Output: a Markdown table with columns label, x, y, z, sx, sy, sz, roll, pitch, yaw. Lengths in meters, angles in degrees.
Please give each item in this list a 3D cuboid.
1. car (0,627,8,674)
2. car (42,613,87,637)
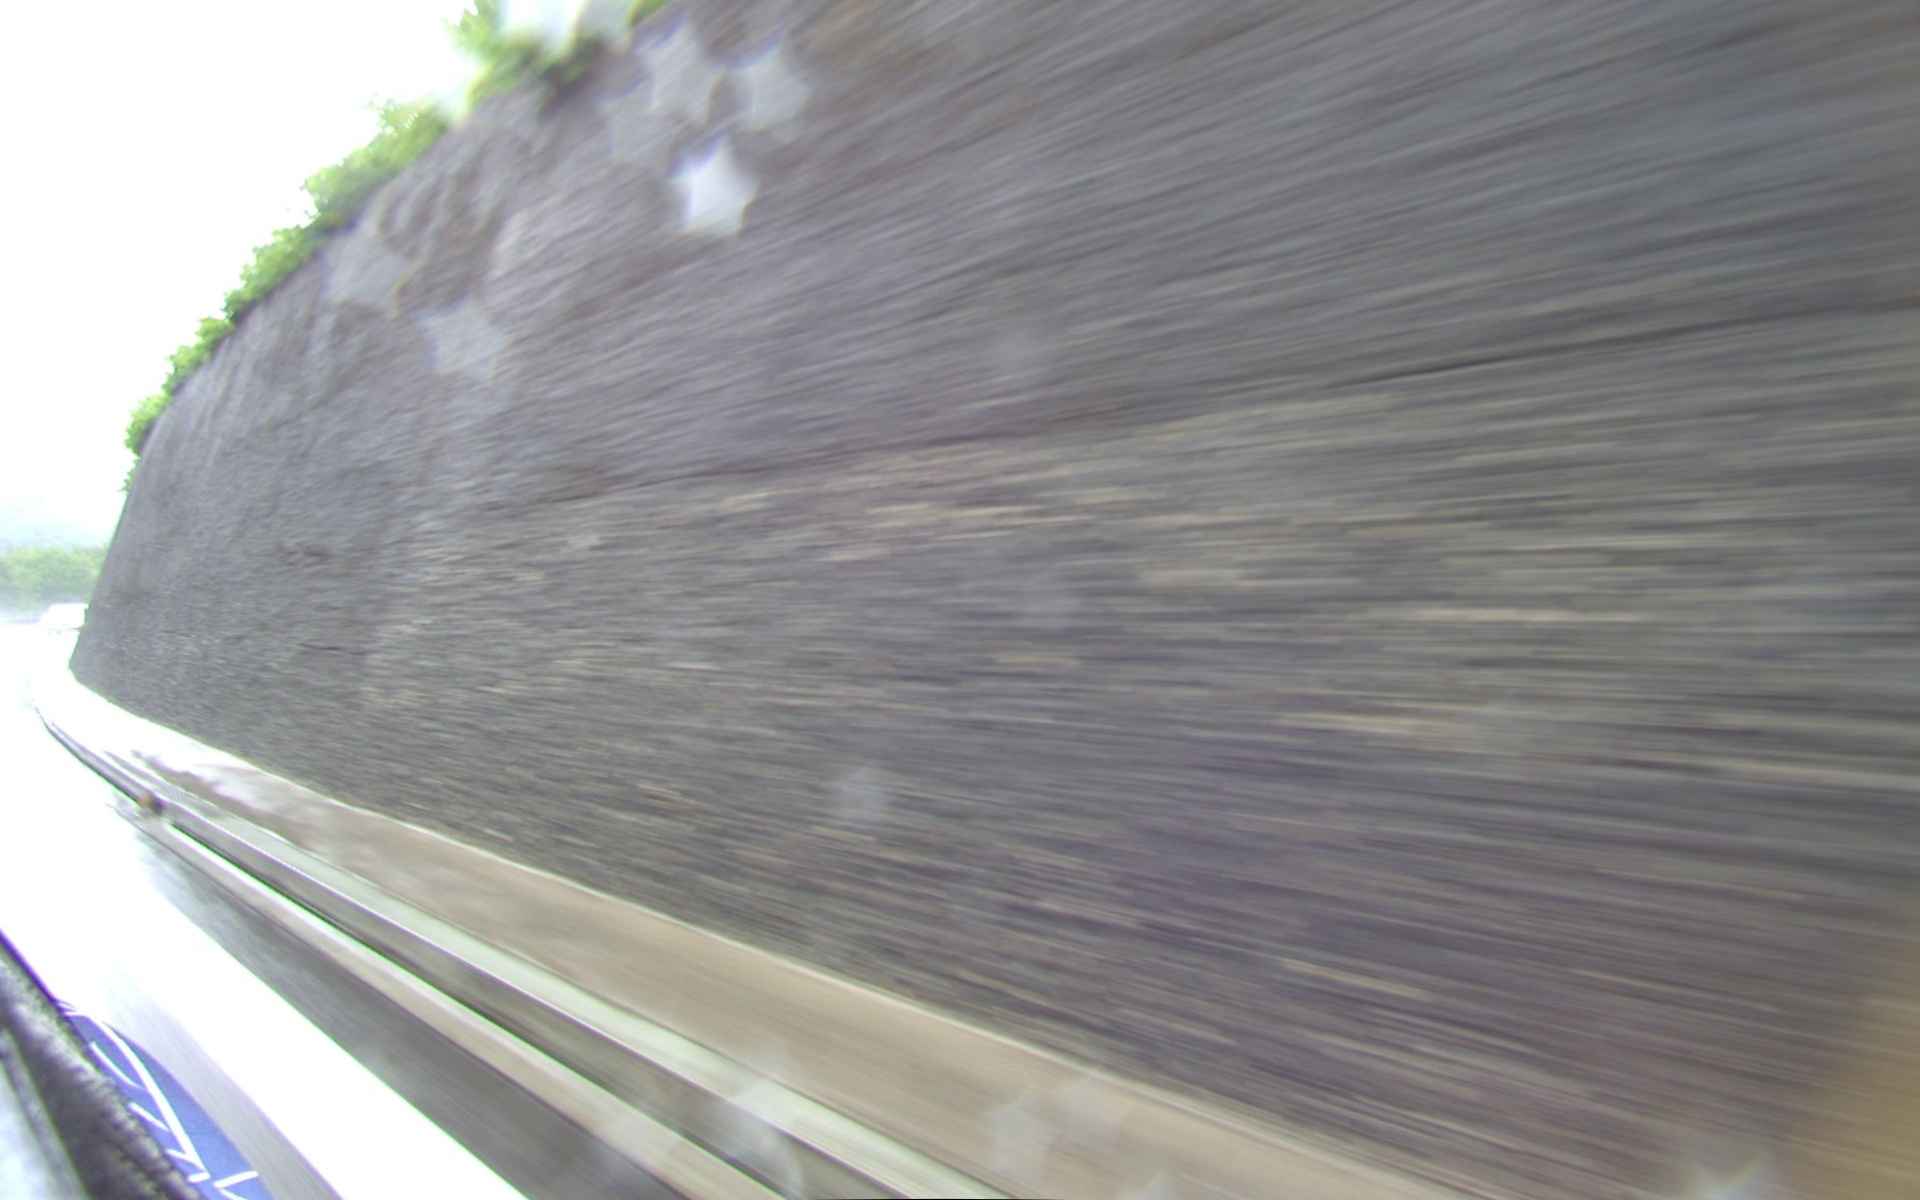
| label | x | y | z | sx | sy | sz | roll | pitch | yaw |
| --- | --- | --- | --- | --- | --- | --- | --- | --- | --- |
| car | -29.406 | 1.565 | 29.642 | 1.799 | 1.393 | 4.008 | -3 | 1 | -38 |
| car | -58.488 | 1.618 | 66.135 | 1.799 | 1.393 | 4.009 | -3 | 1 | -36 |
